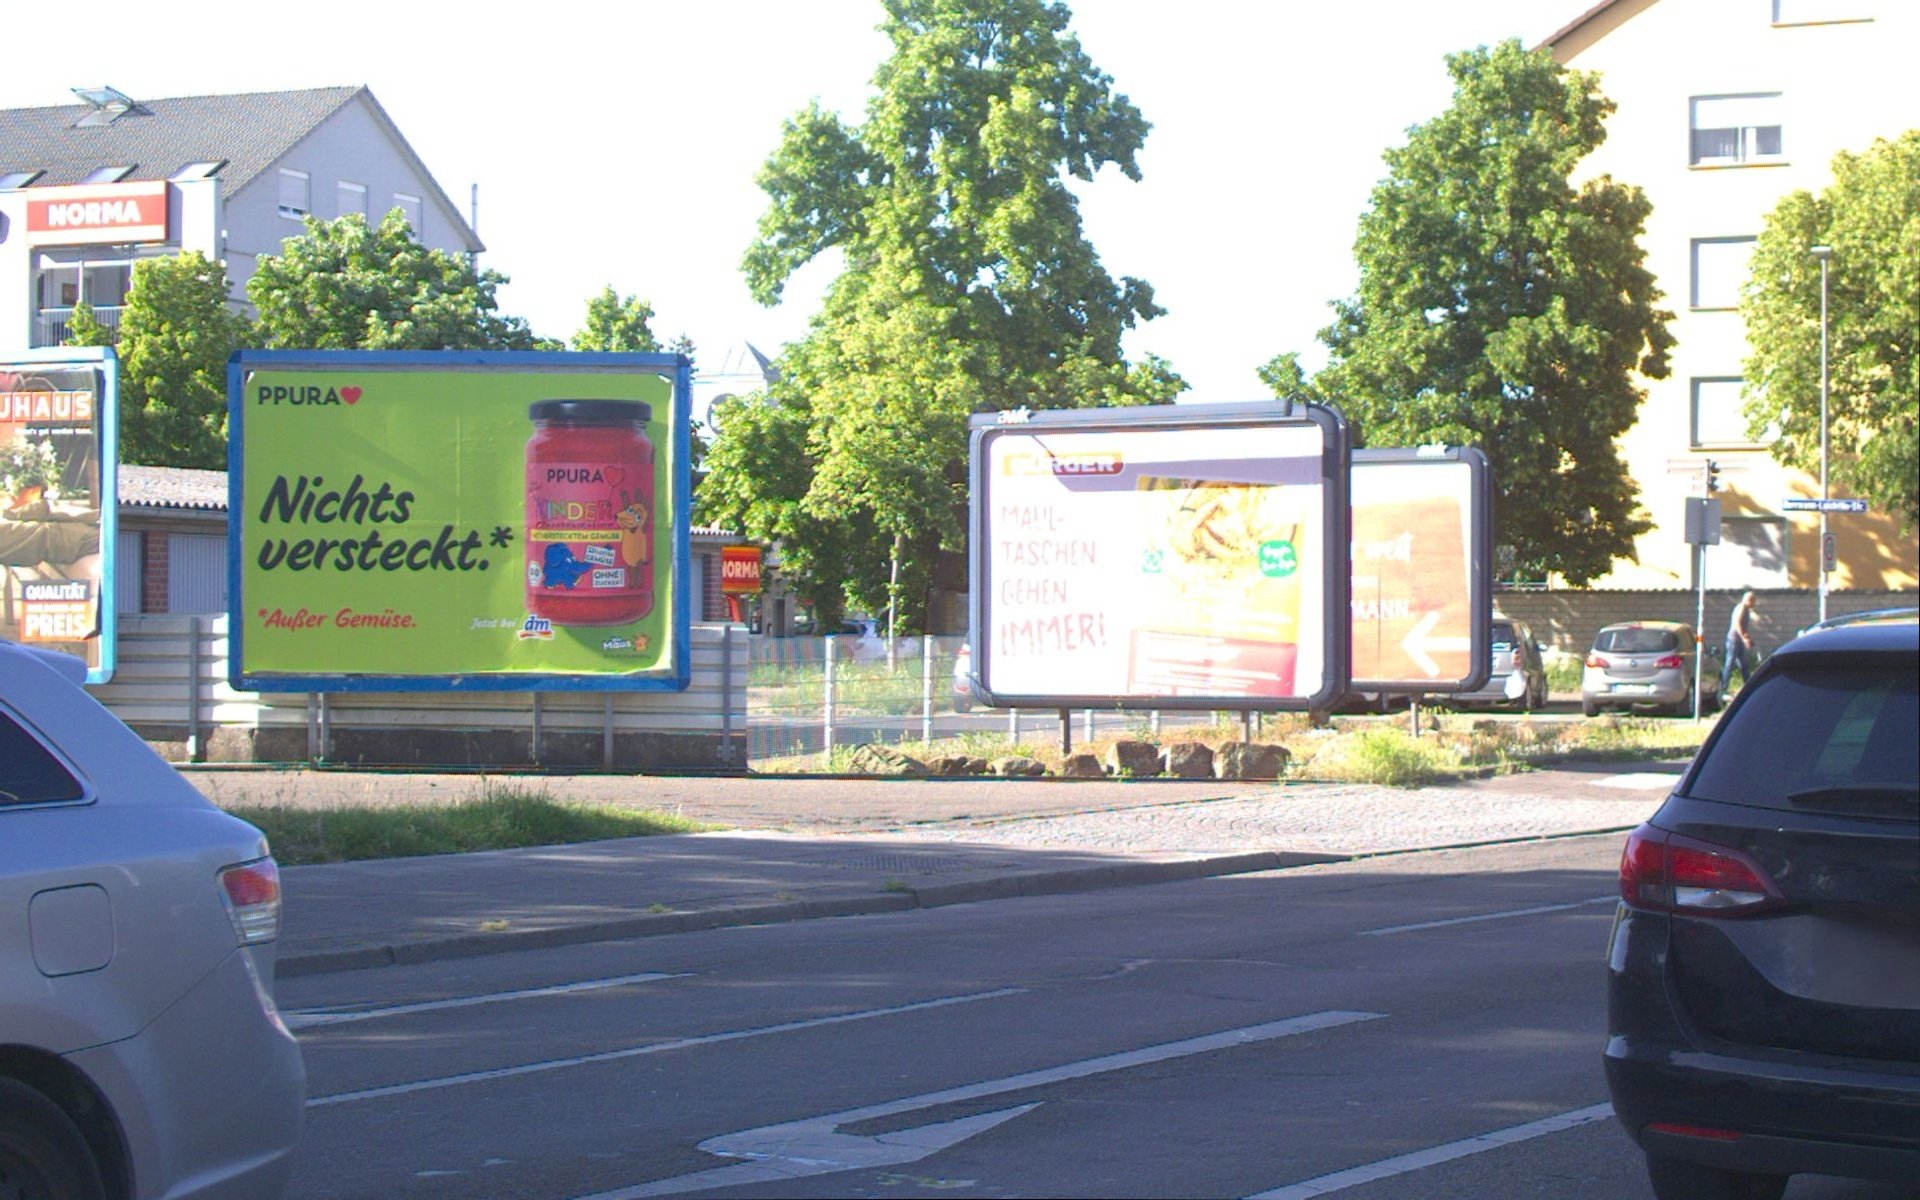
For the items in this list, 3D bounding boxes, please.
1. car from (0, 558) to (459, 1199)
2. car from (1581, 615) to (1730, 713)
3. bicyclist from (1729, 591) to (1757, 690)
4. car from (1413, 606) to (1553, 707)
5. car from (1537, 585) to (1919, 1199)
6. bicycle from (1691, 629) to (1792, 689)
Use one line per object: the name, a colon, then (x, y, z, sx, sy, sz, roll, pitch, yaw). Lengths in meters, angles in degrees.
car: (-3.089, 0.678, 5.314, 1.840, 1.484, 4.880, -1, -1, 32)
car: (11.159, 0.997, 55.020, 1.730, 1.459, 3.877, 0, 0, 21)
bicyclist: (13.337, 0.692, 58.560, 0.388, 1.680, 0.382, 1, -2, 2)
car: (8.738, 0.910, 57.216, 1.699, 1.616, 3.878, 0, 0, 18)
car: (3.034, 0.757, 8.523, 1.765, 1.486, 4.283, 1, 0, 30)
bicycle: (13.305, 1.003, 58.547, 1.617, 1.007, 0.406, 1, -2, 2)
